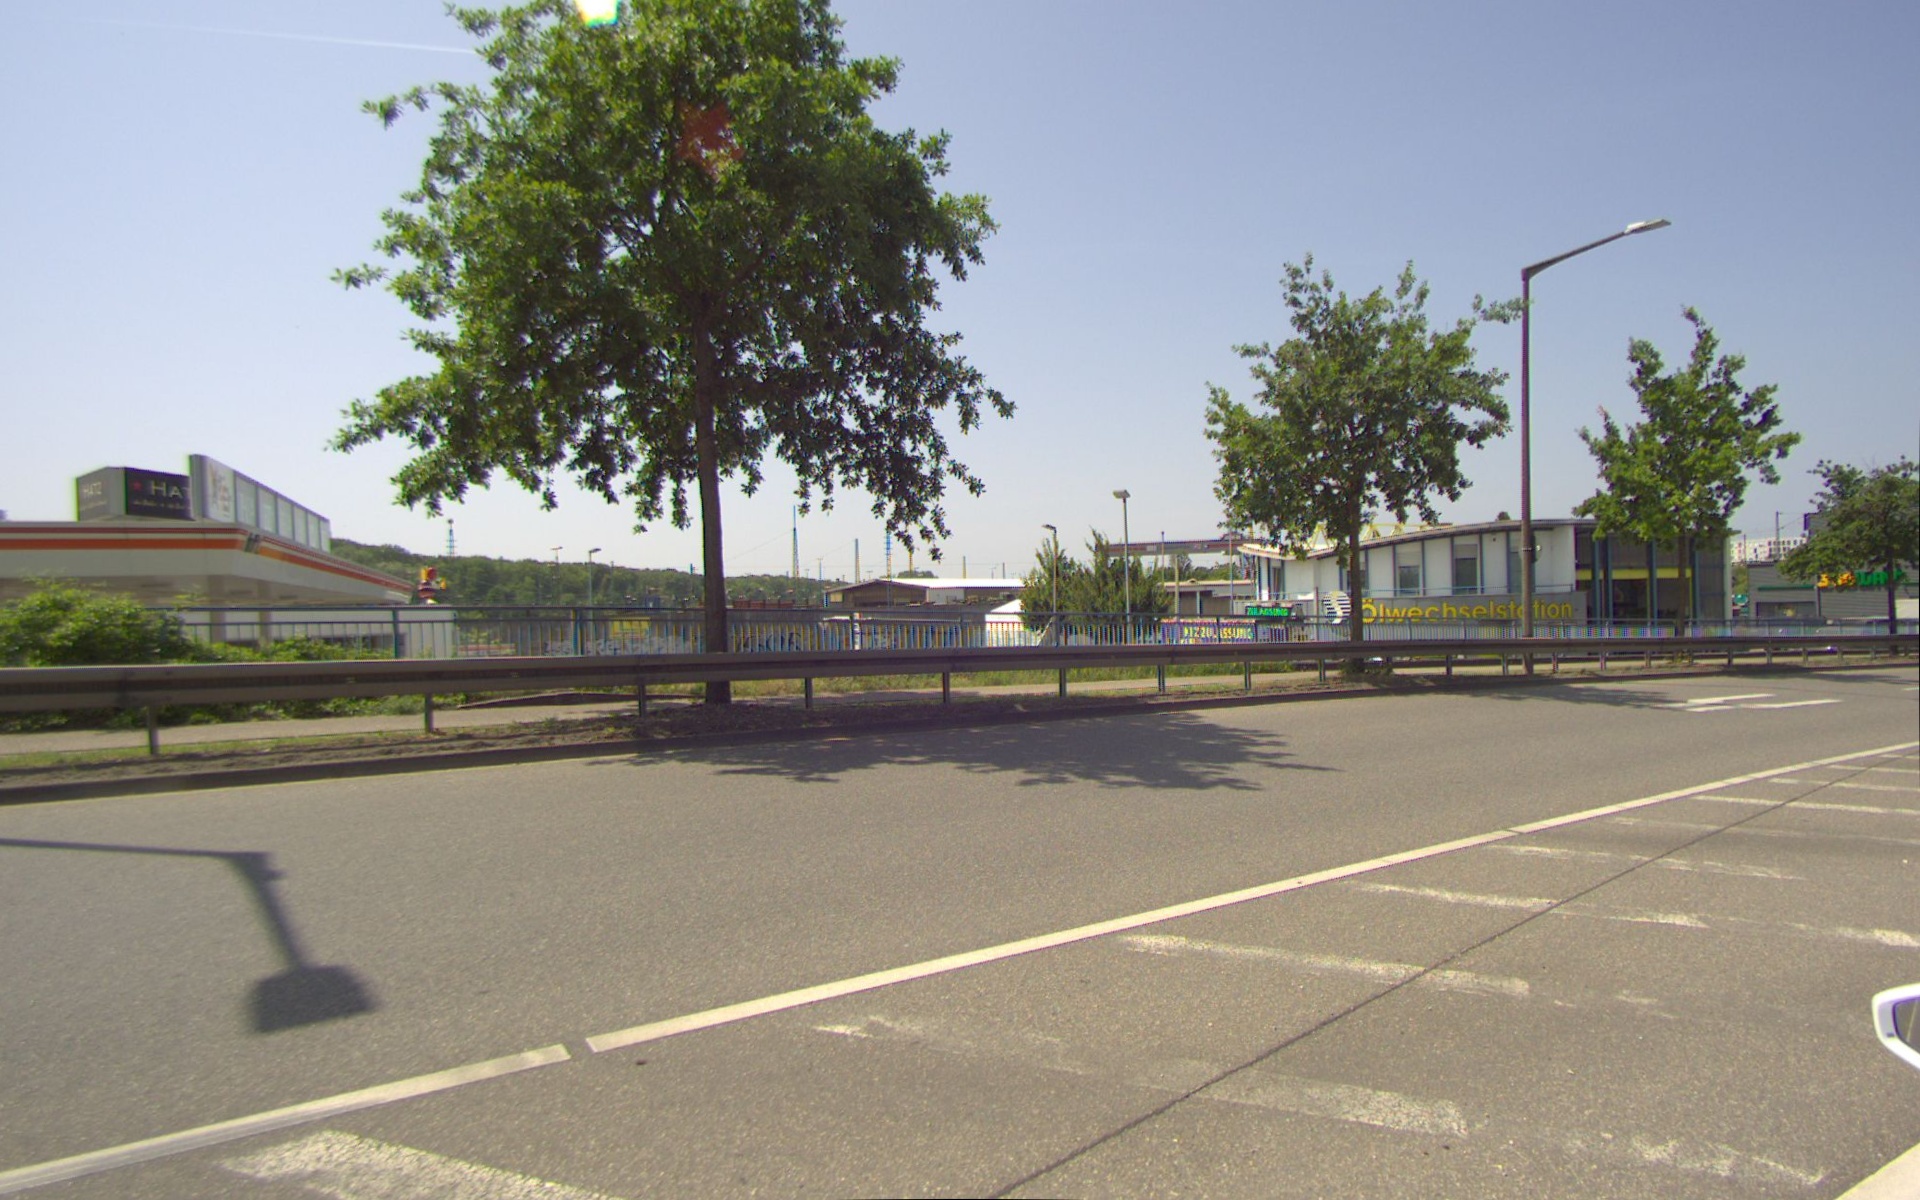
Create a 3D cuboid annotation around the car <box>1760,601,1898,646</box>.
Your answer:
[{"bbox_3d":[32.453,0.886,37.537,4.568,1.589,1.896,0,-2,-20],"label":"car"}]
